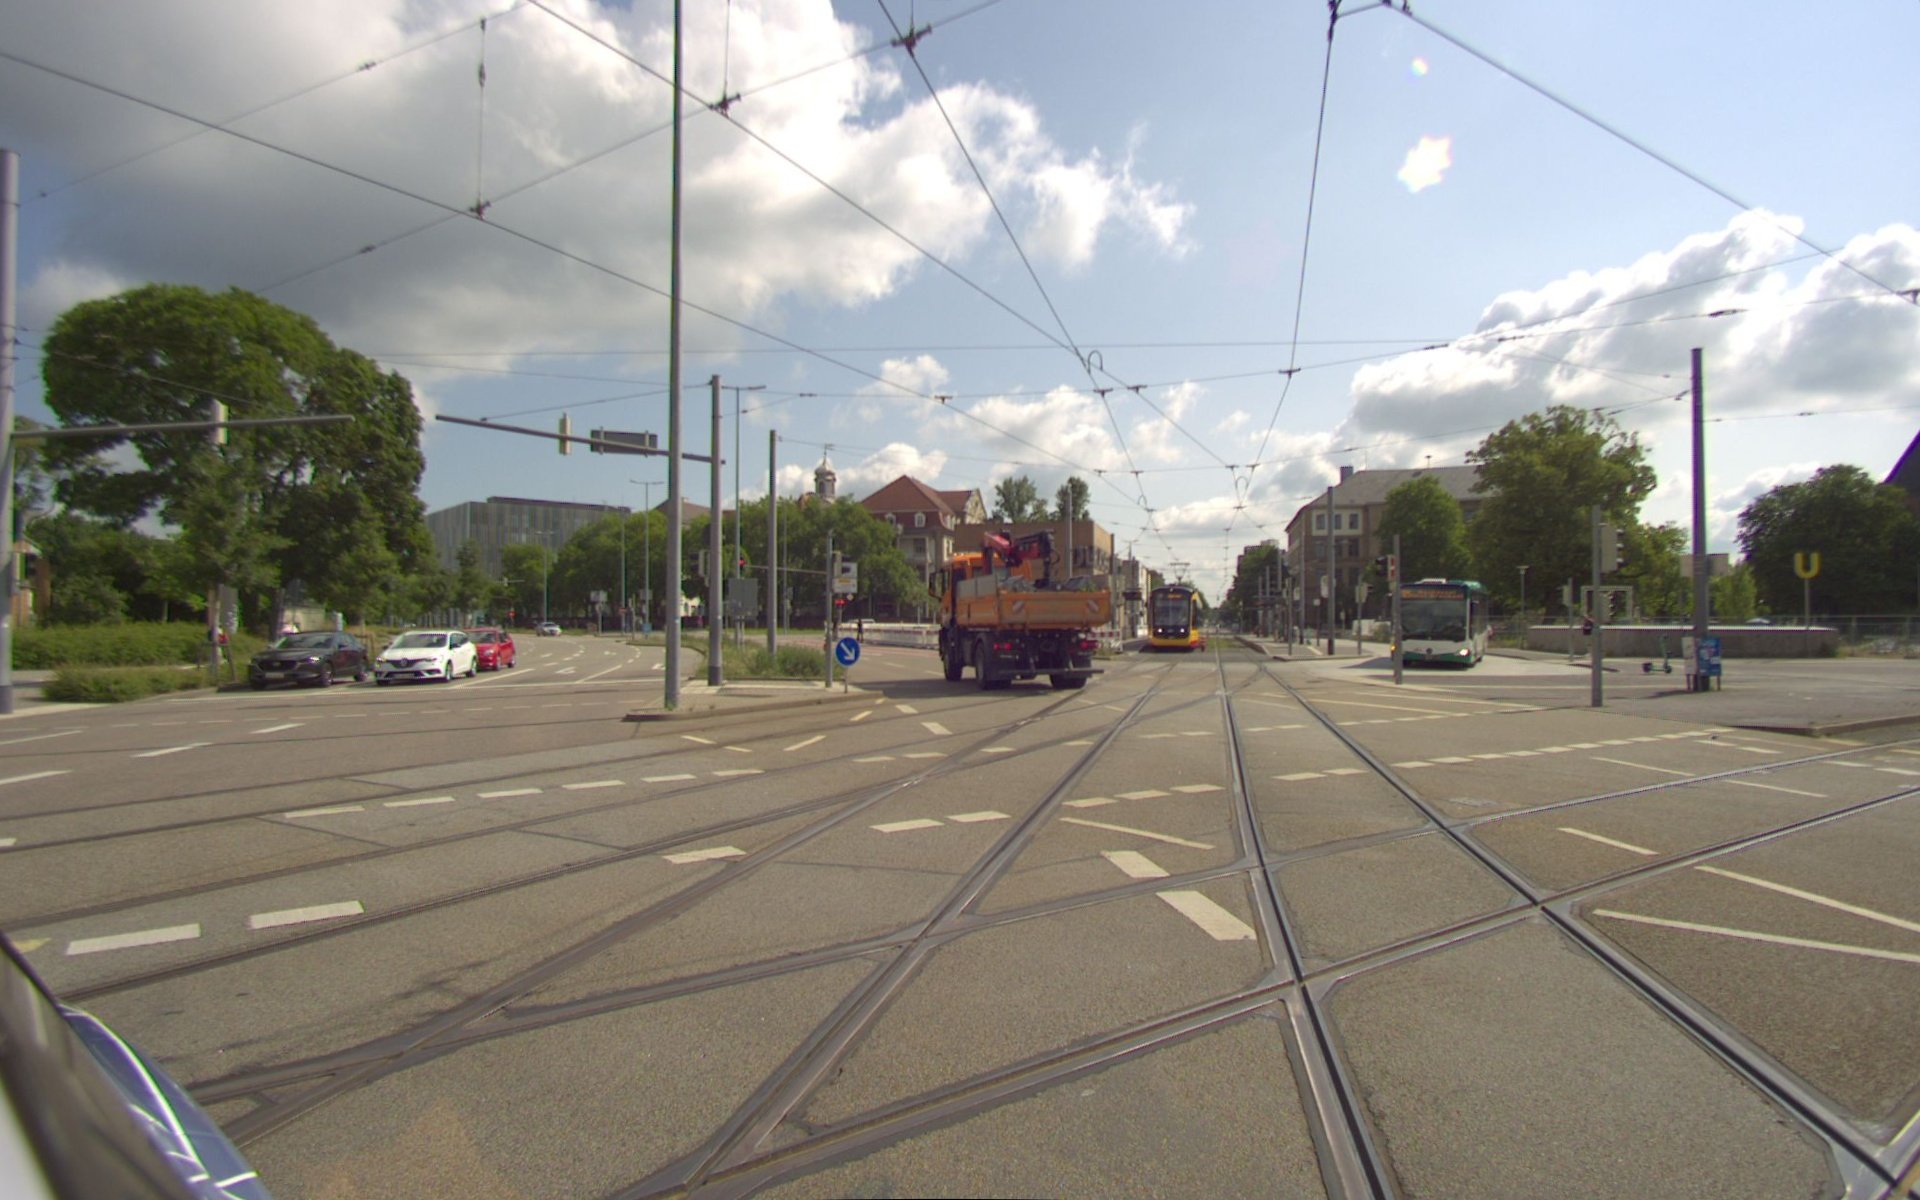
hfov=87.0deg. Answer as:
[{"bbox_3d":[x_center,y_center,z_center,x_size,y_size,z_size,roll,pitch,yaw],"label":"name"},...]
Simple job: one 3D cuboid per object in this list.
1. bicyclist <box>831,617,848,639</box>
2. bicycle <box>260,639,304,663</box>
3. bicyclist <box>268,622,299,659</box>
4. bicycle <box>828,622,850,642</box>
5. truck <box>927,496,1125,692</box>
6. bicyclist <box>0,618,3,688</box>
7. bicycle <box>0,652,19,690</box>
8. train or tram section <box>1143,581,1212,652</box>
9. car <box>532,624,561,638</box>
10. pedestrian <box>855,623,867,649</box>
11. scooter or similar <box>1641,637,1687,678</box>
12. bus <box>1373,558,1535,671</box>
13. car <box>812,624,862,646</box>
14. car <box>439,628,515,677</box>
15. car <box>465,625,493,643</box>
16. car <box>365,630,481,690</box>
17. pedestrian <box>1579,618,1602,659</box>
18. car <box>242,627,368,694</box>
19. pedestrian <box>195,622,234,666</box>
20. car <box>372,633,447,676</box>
[{"bbox_3d":[-8.823,2.022,74.003,0.764,1.575,1.781,1,-2,-23],"label":"bicyclist"},{"bbox_3d":[-26.817,2.017,40.051,0.642,0.904,2.281,0,-2,-12],"label":"bicycle"},{"bbox_3d":[-26.855,1.601,40.185,0.625,1.468,1.172,0,-2,-12],"label":"bicyclist"},{"bbox_3d":[-8.856,2.331,73.967,0.956,1.421,2.301,0,-2,-23],"label":"bicycle"},{"bbox_3d":[1.263,-0.014,25.004,2.790,4.039,8.091,0,-2,-12],"label":"truck"},{"bbox_3d":[-23.253,1.258,23.794,0.571,1.684,0.937,1,-2,0],"label":"bicyclist"},{"bbox_3d":[-23.309,1.677,23.739,0.750,0.882,1.809,2,-2,0],"label":"bicycle"},{"bbox_3d":[12.255,0.855,56.294,3.293,3.507,10.559,-2,0,14],"label":"train or tram section"},{"bbox_3d":[-44.491,3.335,108.832,1.802,1.537,4.008,1,-2,-38],"label":"car"},{"bbox_3d":[-6.910,2.489,70.616,0.642,1.777,1.004,0,-2,-14],"label":"pedestrian"},{"bbox_3d":[21.053,1.706,30.271,1.149,1.175,0.814,1,-2,-39],"label":"scooter or similar"},{"bbox_3d":[19.161,0.638,38.626,2.913,3.648,12.215,-1,-2,39],"label":"bus"},{"bbox_3d":[-10.493,2.979,86.589,3.952,1.796,1.996,0,-2,7],"label":"car"},{"bbox_3d":[-16.662,1.762,35.060,1.619,1.478,4.076,-2,0,-15],"label":"car"},{"bbox_3d":[-49.439,3.503,103.977,1.967,1.768,4.009,-1,-1,-36],"label":"car"},{"bbox_3d":[-15.259,1.637,29.032,1.734,1.440,4.686,-2,0,-12],"label":"car"},{"bbox_3d":[28.191,1.734,45.267,0.713,1.808,0.560,0,-2,14],"label":"pedestrian"},{"bbox_3d":[-17.896,1.595,27.858,1.619,1.588,4.223,-2,0,-14],"label":"car"},{"bbox_3d":[-27.738,1.629,37.664,0.767,1.590,0.947,-1,-2,31],"label":"pedestrian"},{"bbox_3d":[-20.383,1.984,37.617,1.561,1.395,4.090,-1,0,-16],"label":"car"}]
